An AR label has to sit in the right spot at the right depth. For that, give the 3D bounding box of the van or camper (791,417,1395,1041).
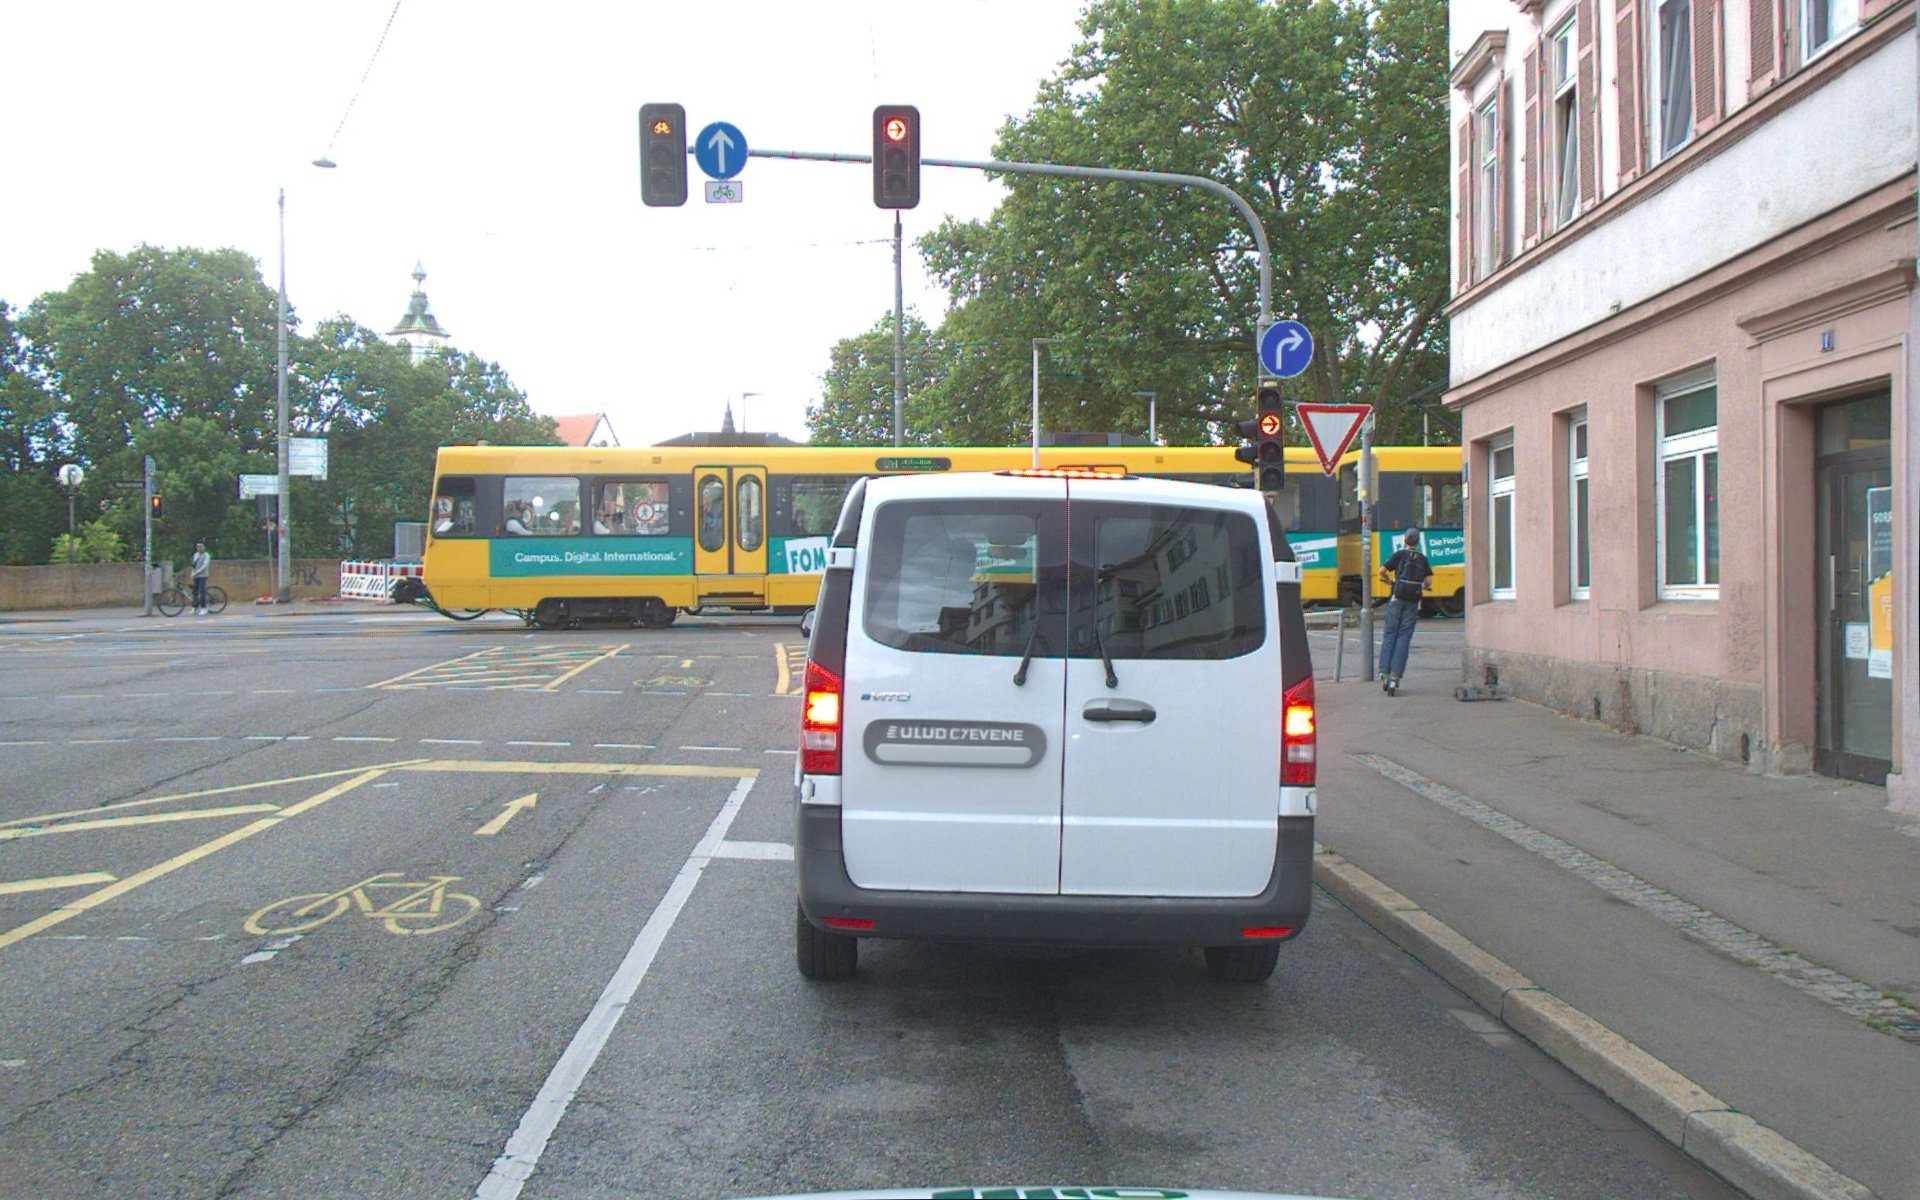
[{"bbox_3d":[0.315,0.388,7.470,1.899,1.958,4.438,1,1,-3],"label":"van or camper"}]

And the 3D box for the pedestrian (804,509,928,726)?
[{"bbox_3d":[-0.874,0.160,15.279,0.988,1.948,0.622,1,0,-19],"label":"pedestrian"}]

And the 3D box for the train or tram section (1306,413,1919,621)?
[{"bbox_3d":[16.943,-1.903,35.962,18.413,4.072,3.261,-1,3,-7],"label":"train or tram section"}]

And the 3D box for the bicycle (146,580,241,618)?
[{"bbox_3d":[-19.732,-0.033,42.618,2.118,0.907,0.749,-1,2,-41],"label":"bicycle"}]

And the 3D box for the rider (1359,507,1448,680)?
[{"bbox_3d":[4.985,-0.073,18.628,0.703,1.880,0.797,-2,0,-1],"label":"rider"}]

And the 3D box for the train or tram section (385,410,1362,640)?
[{"bbox_3d":[-1.478,-1.617,33.654,18.861,4.072,3.305,-2,3,-8],"label":"train or tram section"}]

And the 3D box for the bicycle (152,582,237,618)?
[{"bbox_3d":[-19.670,-0.007,42.521,0.551,0.881,1.937,0,1,45],"label":"bicycle"}]

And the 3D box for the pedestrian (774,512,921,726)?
[{"bbox_3d":[-1.026,0.148,15.202,1.143,1.888,0.669,-2,1,-41],"label":"pedestrian"}]

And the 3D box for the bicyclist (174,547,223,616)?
[{"bbox_3d":[-19.640,-0.485,42.679,0.996,1.774,0.744,-1,1,-41],"label":"bicyclist"}]
